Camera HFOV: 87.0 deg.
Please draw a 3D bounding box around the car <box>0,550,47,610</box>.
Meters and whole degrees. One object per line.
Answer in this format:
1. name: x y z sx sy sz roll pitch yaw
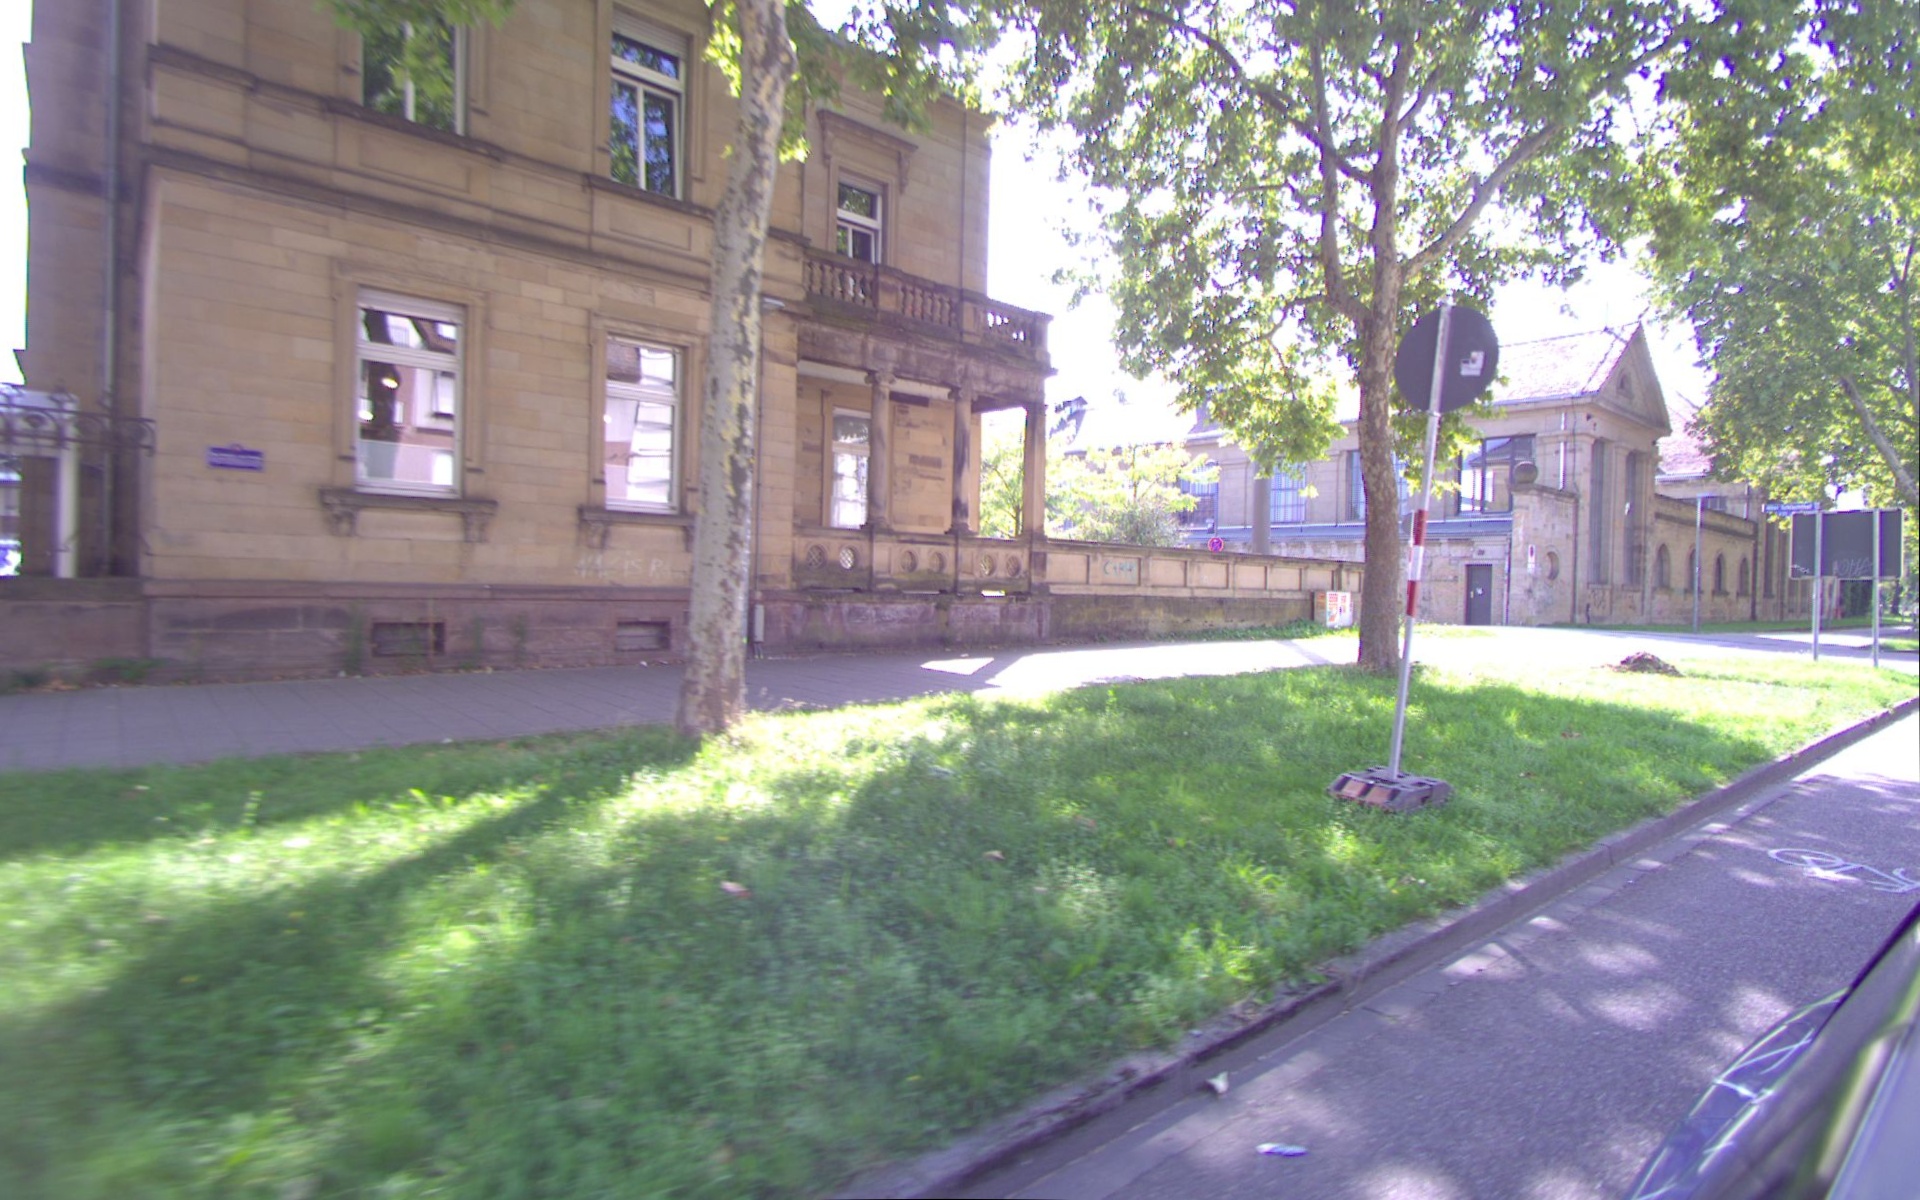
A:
1. car: -23.657 -0.488 24.349 1.786 1.361 4.126 0 1 -32
